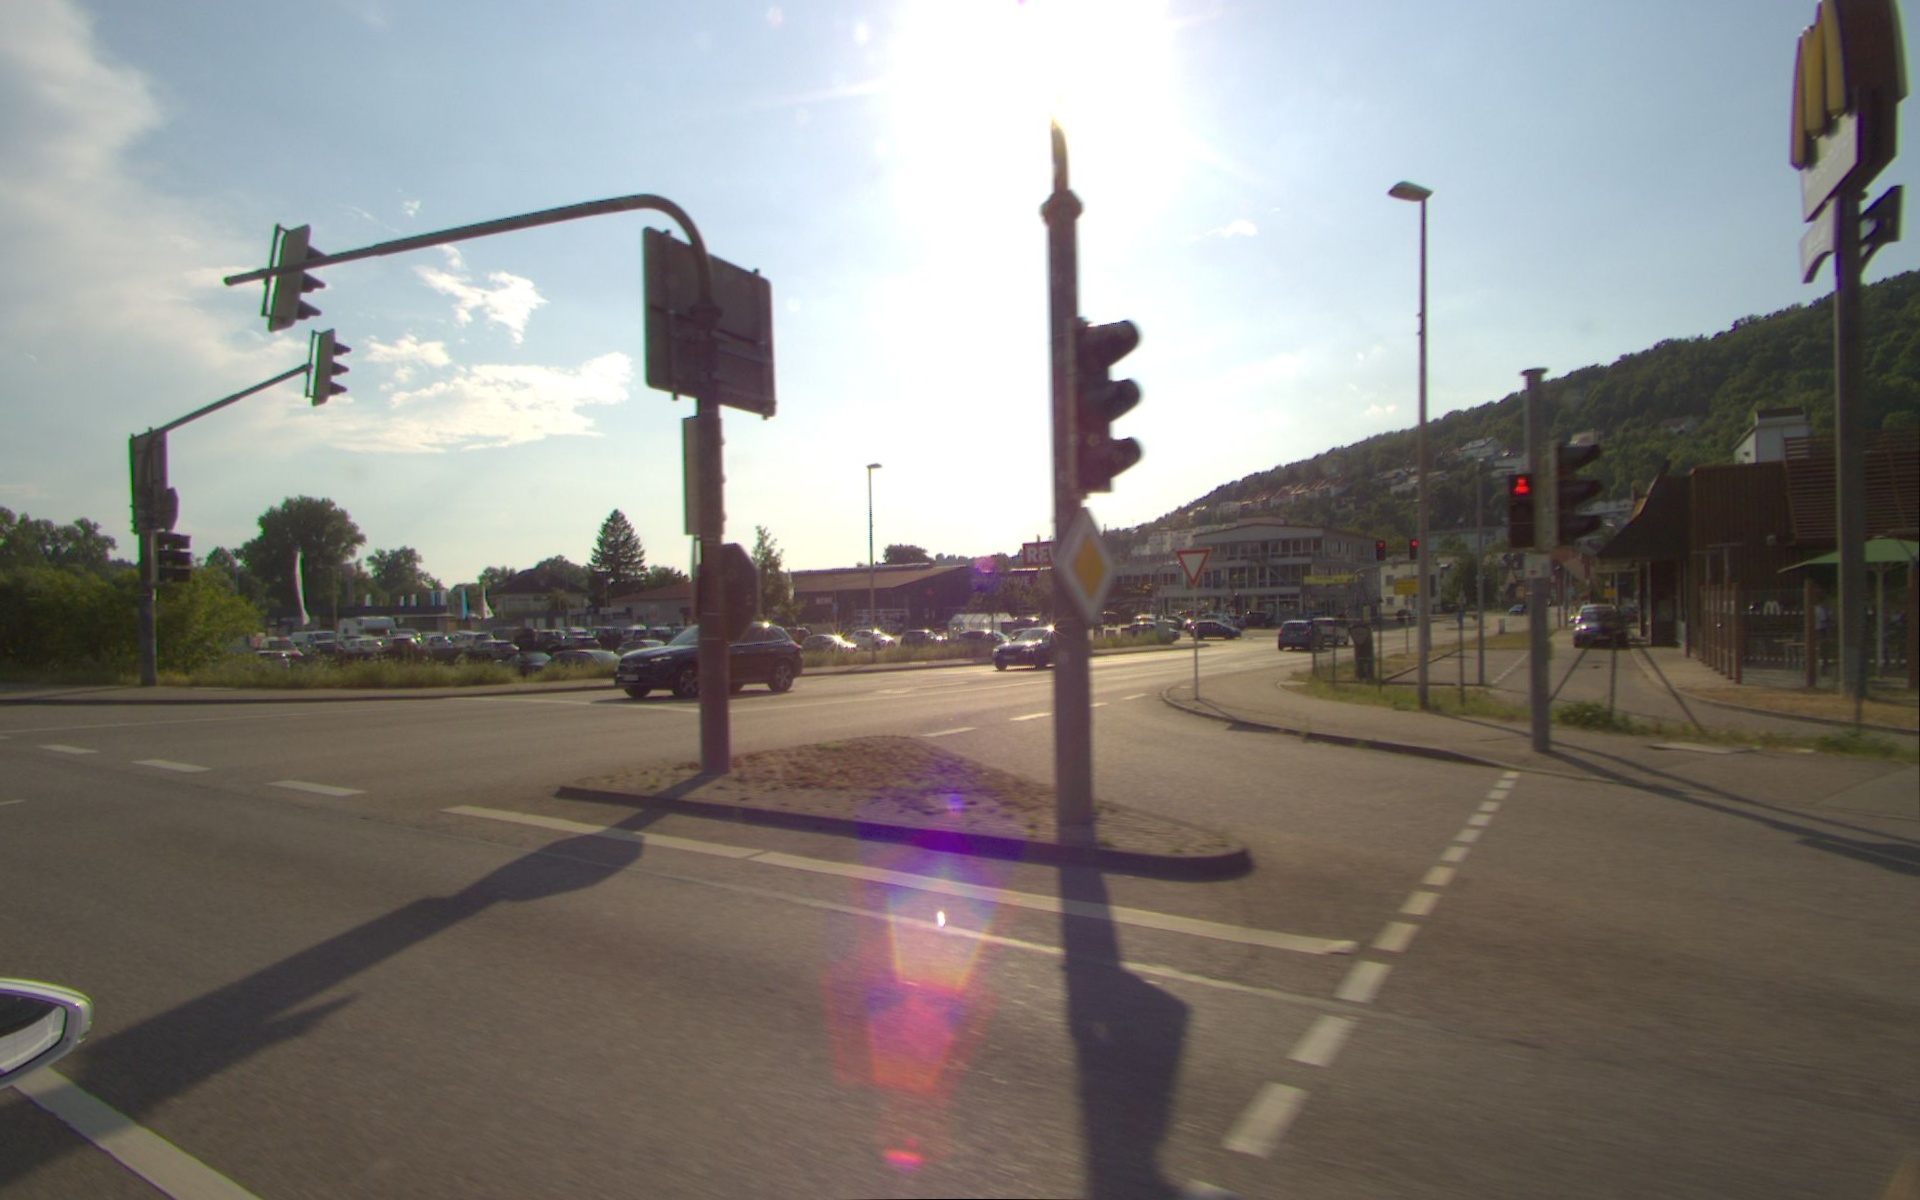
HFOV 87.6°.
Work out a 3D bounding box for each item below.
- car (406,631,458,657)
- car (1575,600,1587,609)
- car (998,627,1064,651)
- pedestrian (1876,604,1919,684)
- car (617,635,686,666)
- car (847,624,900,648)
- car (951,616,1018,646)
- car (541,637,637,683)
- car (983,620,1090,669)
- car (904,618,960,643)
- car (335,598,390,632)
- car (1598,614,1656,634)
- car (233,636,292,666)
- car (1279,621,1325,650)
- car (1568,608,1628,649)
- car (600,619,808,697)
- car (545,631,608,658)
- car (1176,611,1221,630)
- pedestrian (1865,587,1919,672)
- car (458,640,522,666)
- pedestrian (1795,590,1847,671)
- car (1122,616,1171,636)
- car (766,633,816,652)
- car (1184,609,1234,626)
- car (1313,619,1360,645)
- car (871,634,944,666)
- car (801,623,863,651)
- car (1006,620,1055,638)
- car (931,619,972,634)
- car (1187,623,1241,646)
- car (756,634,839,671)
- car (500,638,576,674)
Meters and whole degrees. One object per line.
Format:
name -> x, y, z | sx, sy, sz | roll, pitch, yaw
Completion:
car -> -34.430, 2.869, 65.331 | 3.302, 1.644, 1.607 | -2, -2, 33
car -> 100.416, 0.749, 161.973 | 1.565, 1.414, 3.362 | -1, -2, 33
car -> 4.590, 2.552, 64.892 | 3.942, 1.527, 1.723 | -1, -2, 32
pedestrian -> 24.349, 1.131, 25.861 | 0.722, 2.039, 0.763 | -1, -1, 15
car -> -16.863, 2.724, 54.676 | 3.705, 1.650, 1.590 | -2, -2, 33
car -> -6.601, 2.775, 76.184 | 3.704, 1.772, 1.795 | -2, -2, 32
car -> 1.488, 1.905, 61.071 | 3.705, 1.772, 1.795 | -2, -2, 33
car -> -14.242, 2.271, 38.416 | 3.705, 1.650, 1.590 | -2, -2, 33
car -> 2.717, 1.539, 34.966 | 1.675, 1.616, 3.968 | -2, -3, 41
car -> -2.031, 2.236, 73.034 | 3.704, 1.772, 1.795 | -2, -2, 32
car -> -47.291, 1.226, 79.225 | 5.397, 2.581, 1.751 | -2, -2, 35
car -> 56.079, 2.038, 84.173 | 3.949, 1.690, 1.818 | -2, -2, 37
car -> -36.905, 2.665, 52.980 | 3.539, 1.503, 1.524 | -2, -2, 36
car -> 18.400, 1.923, 53.841 | 1.555, 1.505, 3.306 | -1, -2, 34
car -> 24.650, 1.076, 38.697 | 1.835, 1.476, 3.977 | -2, -1, 33
car -> -5.739, 1.286, 22.962 | 1.973, 1.605, 4.444 | -1, -3, 35
car -> -26.080, 3.004, 68.044 | 4.069, 1.725, 1.829 | -1, 0, 30
car -> 23.693, 2.056, 99.386 | 3.942, 1.772, 1.991 | -1, -2, 32
pedestrian -> 22.771, 0.722, 24.379 | 0.748, 2.039, 0.736 | 0, -1, 1
car -> -29.293, 3.291, 62.390 | 3.942, 1.527, 1.723 | -1, -2, 32
pedestrian -> 22.199, 0.796, 25.829 | 0.750, 2.039, 0.735 | -1, -1, 18
car -> 17.029, 2.385, 91.563 | 3.942, 1.772, 1.991 | -1, -2, 32
car -> -14.182, 3.516, 84.040 | 3.942, 1.527, 1.723 | -1, -2, 32
car -> 22.450, 1.603, 90.282 | 3.948, 1.438, 1.838 | -2, -2, 36
car -> 22.290, 1.907, 59.233 | 1.668, 1.438, 3.631 | -2, -3, 36
car -> -2.808, 2.660, 53.349 | 3.705, 1.650, 1.590 | -2, -2, 33
car -> -8.250, 2.411, 64.569 | 3.704, 1.772, 1.795 | -2, -2, 32
car -> 6.692, 2.755, 95.218 | 4.276, 1.584, 1.828 | -1, 0, 31
car -> -0.992, 3.095, 115.892 | 4.517, 1.609, 1.828 | -1, 0, 31
car -> 19.991, 2.741, 78.878 | 3.932, 1.750, 1.603 | -1, -2, 22
car -> -7.476, 2.384, 46.046 | 3.705, 1.650, 1.590 | -2, -2, 33
car -> -20.394, 2.688, 48.395 | 3.705, 1.650, 1.590 | -2, -2, 33
